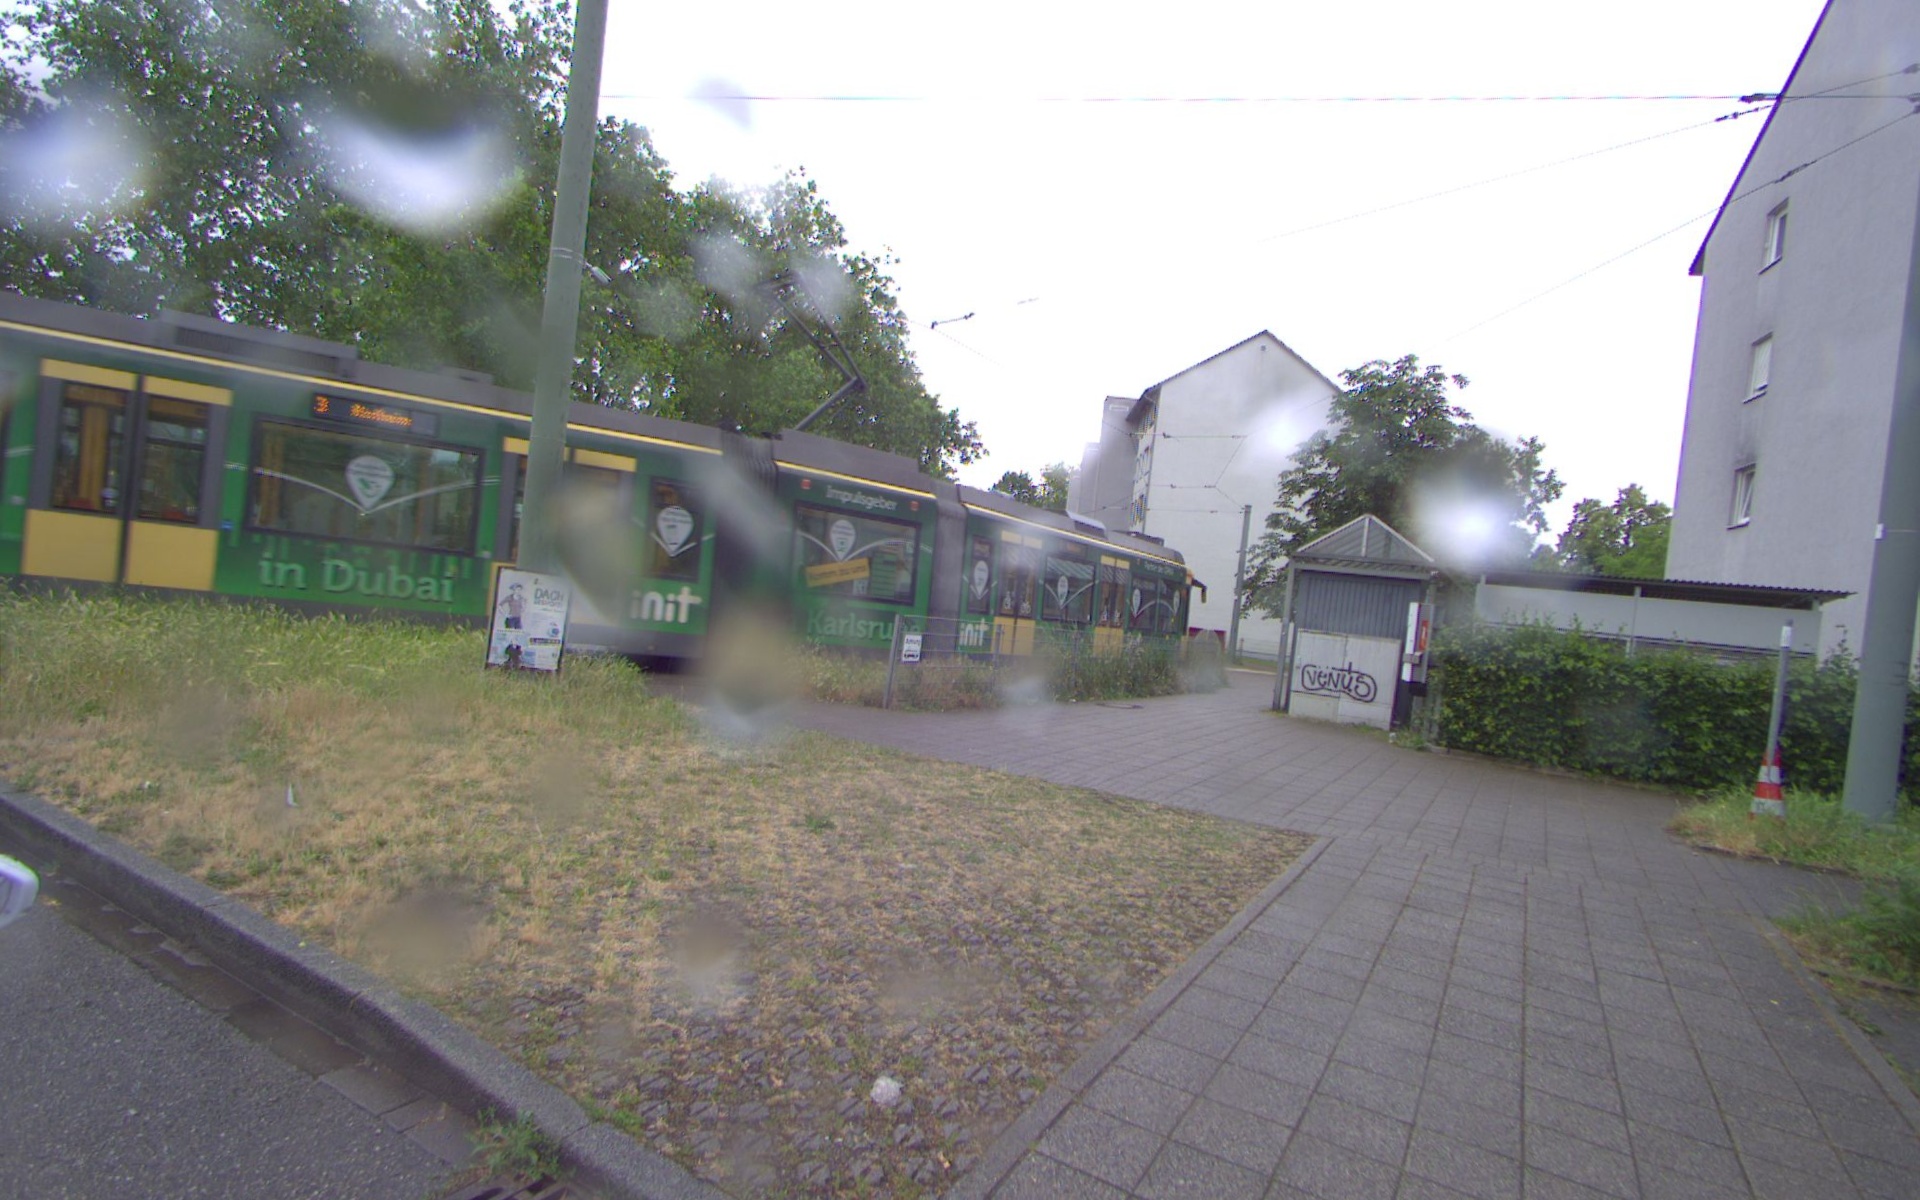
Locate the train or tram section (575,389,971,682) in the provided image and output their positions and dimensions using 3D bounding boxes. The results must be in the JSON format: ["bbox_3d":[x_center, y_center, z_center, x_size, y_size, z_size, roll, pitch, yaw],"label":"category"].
[{"bbox_3d":[-2.736,-0.754,15.170,4.946,3.599,2.739,4,2,-40],"label":"train or tram section"}]

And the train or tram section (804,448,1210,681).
[{"bbox_3d":[1.893,-0.261,21.472,2.724,3.597,12.174,7,0,32],"label":"train or tram section"}]

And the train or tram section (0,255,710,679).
[{"bbox_3d":[-9.656,-1.512,10.911,12.981,3.597,2.749,7,0,-29],"label":"train or tram section"}]
